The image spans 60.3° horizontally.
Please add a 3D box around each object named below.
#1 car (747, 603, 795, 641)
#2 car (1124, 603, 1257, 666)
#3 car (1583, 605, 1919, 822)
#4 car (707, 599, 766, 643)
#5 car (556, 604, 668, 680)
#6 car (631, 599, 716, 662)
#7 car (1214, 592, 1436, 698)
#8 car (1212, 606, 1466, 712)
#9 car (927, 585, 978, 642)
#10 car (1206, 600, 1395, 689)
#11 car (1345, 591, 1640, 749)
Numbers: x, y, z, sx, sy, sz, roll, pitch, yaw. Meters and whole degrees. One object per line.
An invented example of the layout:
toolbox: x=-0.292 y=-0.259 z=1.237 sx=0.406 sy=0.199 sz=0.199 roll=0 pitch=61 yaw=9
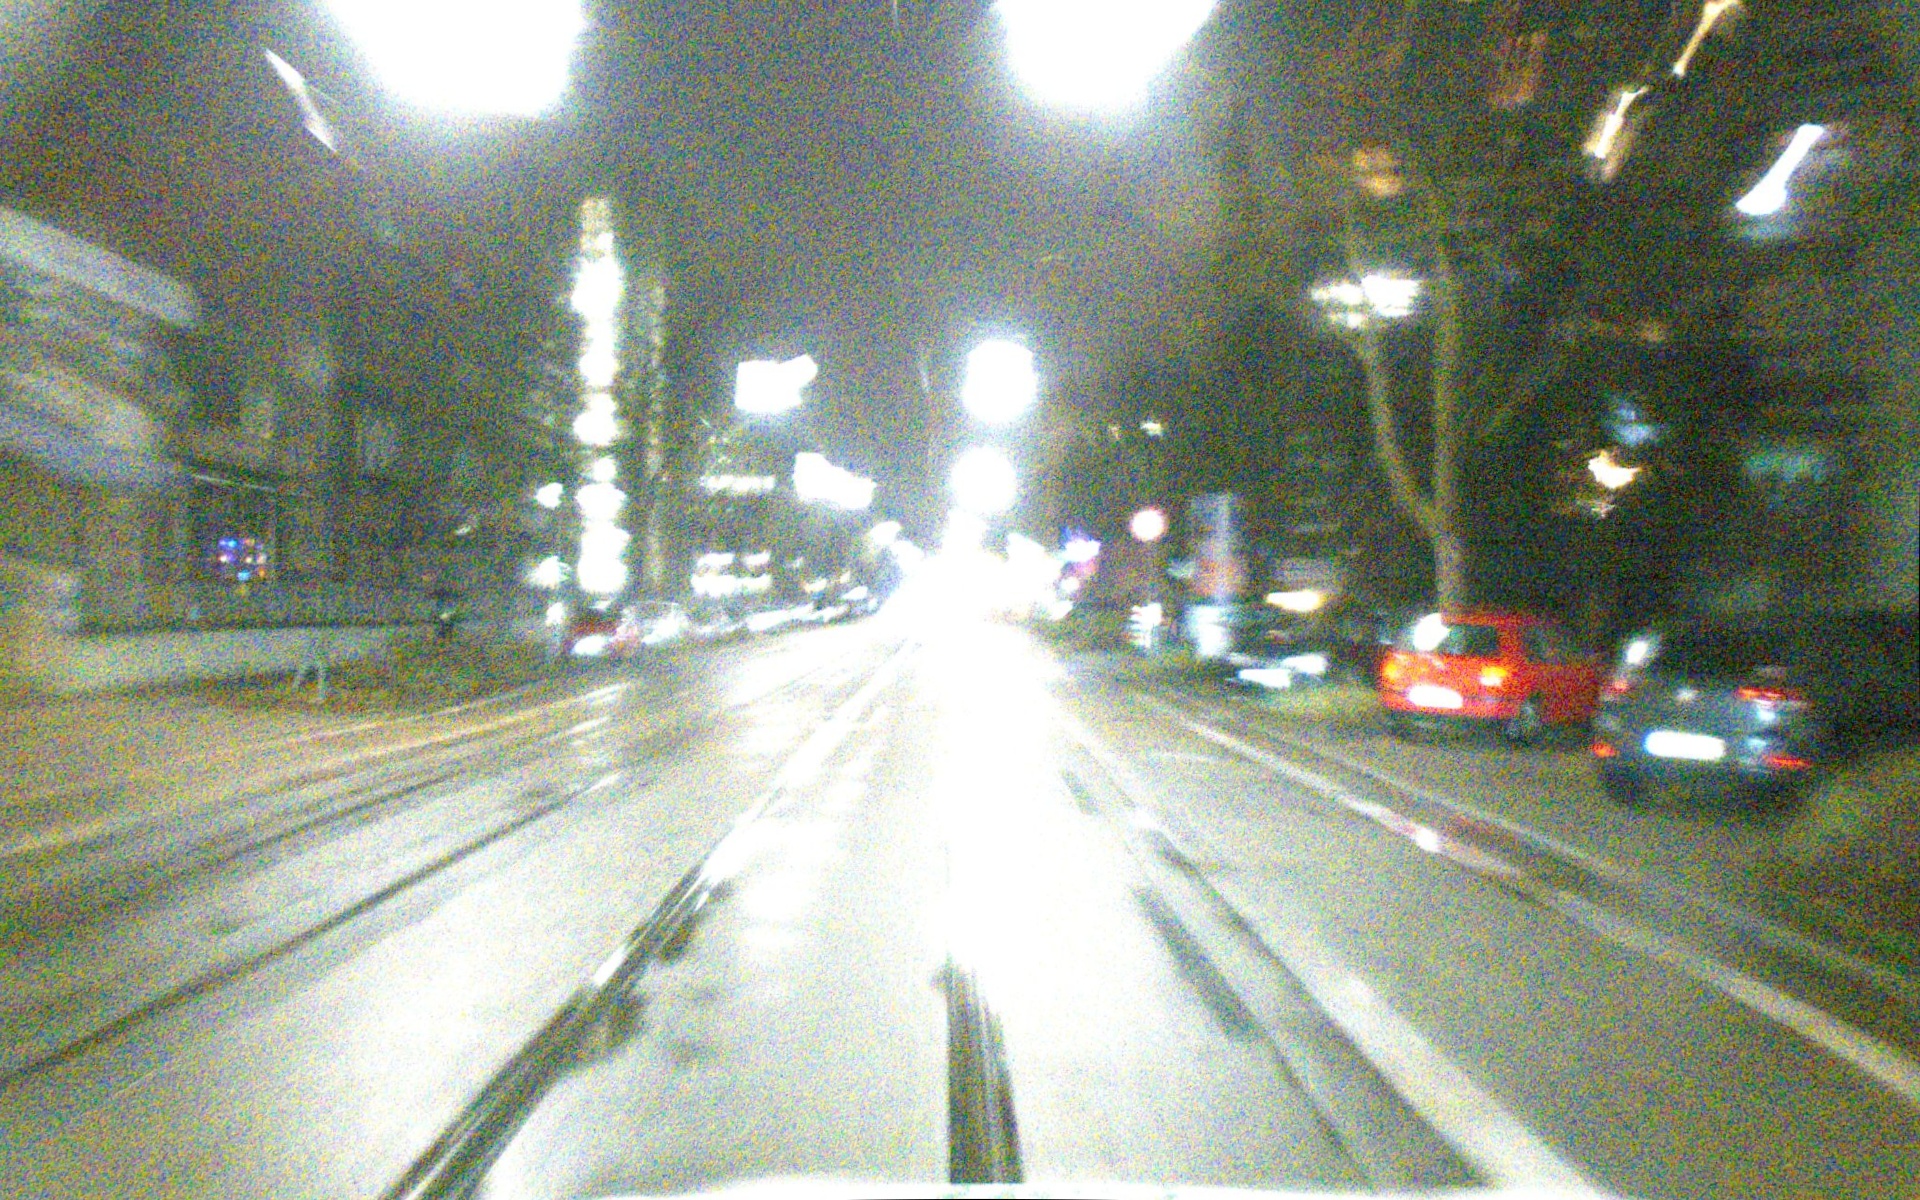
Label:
car: x=-9.476 y=1.102 z=83.197 sx=1.982 sy=1.791 sz=3.999 roll=3 pitch=-1 yaw=-1
car: x=6.341 y=0.965 z=45.298 sx=1.874 sy=1.600 sz=3.944 roll=2 pitch=-1 yaw=38
car: x=6.669 y=0.817 z=13.244 sx=3.796 sy=1.455 sz=1.612 roll=2 pitch=0 yaw=-43
car: x=-9.699 y=0.933 z=72.036 sx=1.982 sy=1.791 sz=3.999 roll=3 pitch=-1 yaw=-1
car: x=-9.077 y=1.079 z=43.600 sx=2.066 sy=1.795 sz=4.962 roll=3 pitch=-1 yaw=-3
car: x=-8.959 y=0.958 z=52.089 sx=1.959 sy=1.816 sz=3.999 roll=3 pitch=-1 yaw=-1
car: x=6.621 y=0.810 z=29.720 sx=1.996 sy=1.728 sz=4.219 roll=2 pitch=-1 yaw=44
car: x=5.979 y=0.910 z=25.821 sx=1.919 sy=1.480 sz=4.217 roll=2 pitch=-1 yaw=45
car: x=-0.387 y=0.607 z=76.559 sx=2.172 sy=2.484 sz=5.381 roll=1 pitch=0 yaw=-2
car: x=6.814 y=0.888 z=32.883 sx=1.878 sy=1.600 sz=3.935 roll=2 pitch=-1 yaw=44
car: x=6.436 y=0.799 z=19.778 sx=2.019 sy=1.652 sz=3.807 roll=2 pitch=-1 yaw=41
